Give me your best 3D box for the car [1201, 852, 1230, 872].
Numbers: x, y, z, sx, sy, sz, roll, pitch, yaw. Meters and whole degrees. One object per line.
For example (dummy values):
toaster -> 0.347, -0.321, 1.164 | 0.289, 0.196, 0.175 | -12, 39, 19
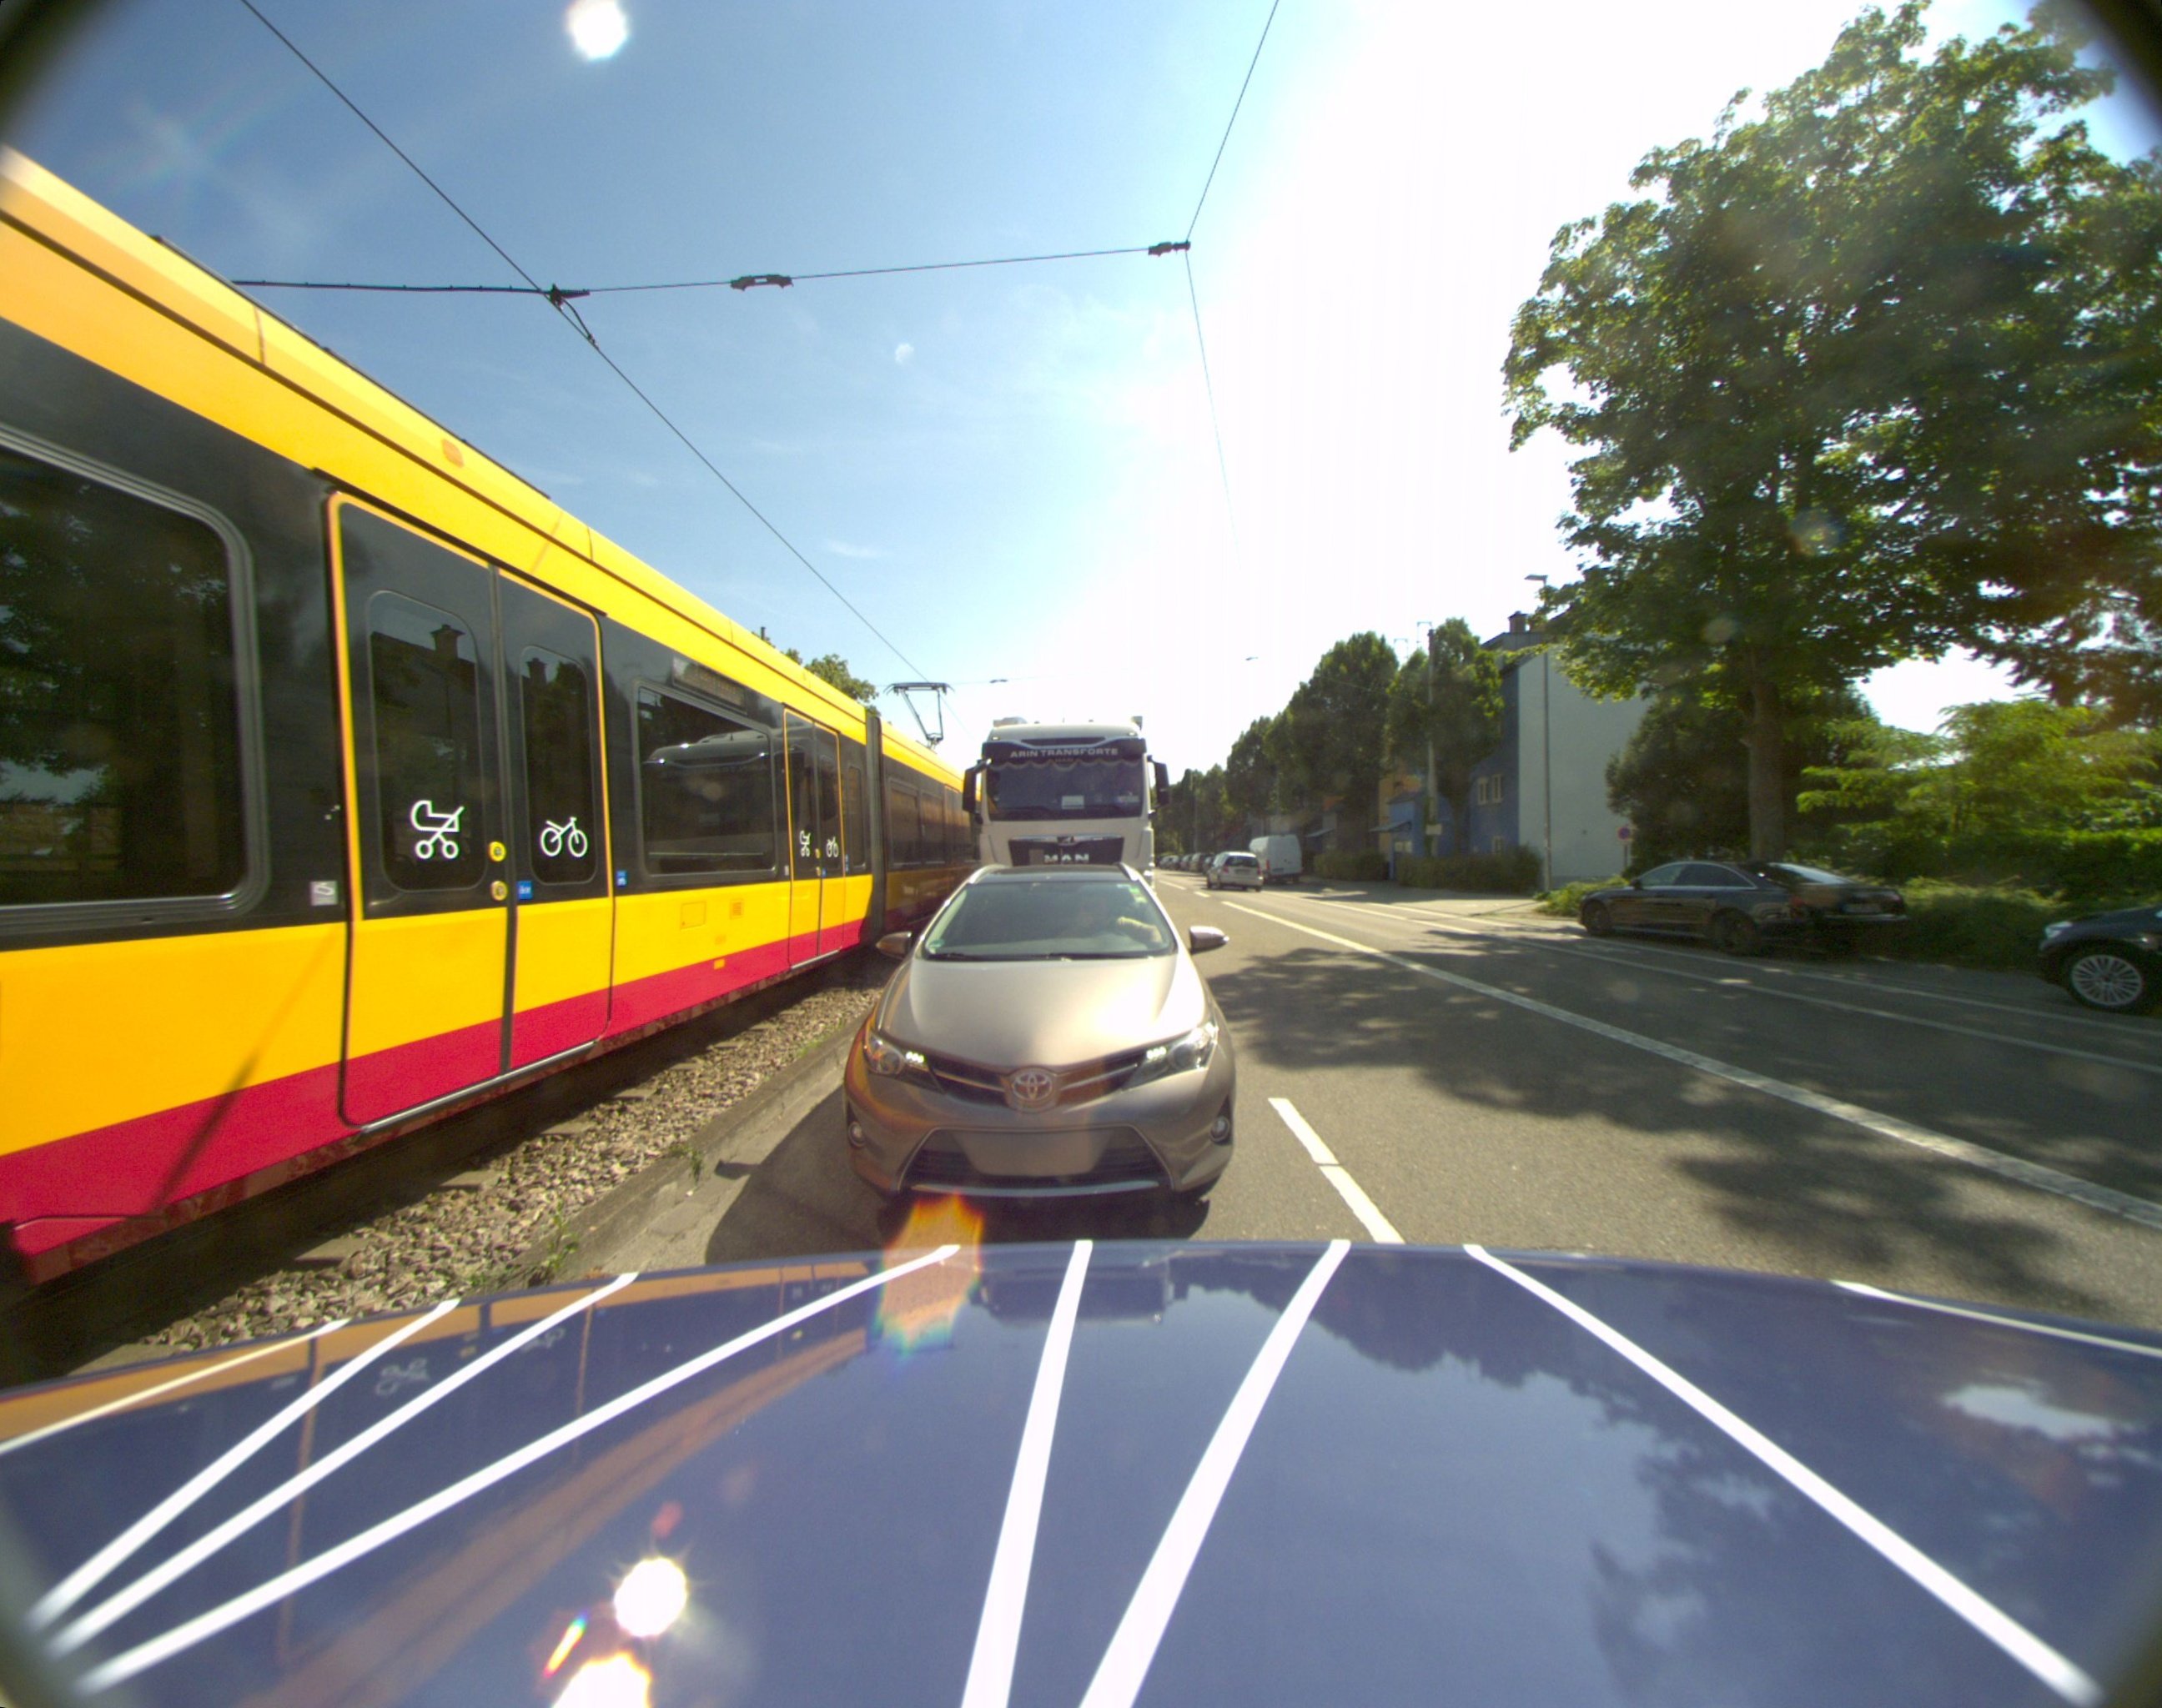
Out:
car -> 11.068, 0.637, 62.806 | 1.679, 1.493, 3.766 | -4, 0, 1

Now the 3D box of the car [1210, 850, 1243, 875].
car -> 10.924, 0.612, 57.383 | 1.679, 1.659, 4.148 | -4, 0, 1

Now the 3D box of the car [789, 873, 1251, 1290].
car -> -0.208, 0.922, 4.913 | 1.719, 1.439, 4.030 | -2, 0, 1

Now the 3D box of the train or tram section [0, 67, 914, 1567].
train or tram section -> -3.927, -0.103, 3.282 | 2.676, 3.631, 15.304 | -2, 1, 1

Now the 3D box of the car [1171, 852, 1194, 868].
car -> 10.516, 0.591, 79.062 | 1.679, 1.493, 3.765 | -4, 0, -3

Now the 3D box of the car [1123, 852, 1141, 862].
car -> 7.345, 0.434, 109.777 | 1.680, 1.493, 3.762 | -1, 1, -10

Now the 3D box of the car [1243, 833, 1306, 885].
car -> 10.932, 0.235, 43.406 | 2.016, 2.636, 6.086 | -4, 0, 1

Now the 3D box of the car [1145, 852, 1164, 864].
car -> 9.395, 0.499, 96.893 | 1.679, 1.493, 3.765 | -4, 0, -5

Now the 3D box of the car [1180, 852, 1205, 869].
car -> 10.759, 0.600, 73.618 | 1.679, 1.493, 3.765 | -4, 0, -3

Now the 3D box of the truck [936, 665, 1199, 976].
truck -> -0.098, -0.469, 17.249 | 3.391, 4.046, 14.286 | -2, 0, 1

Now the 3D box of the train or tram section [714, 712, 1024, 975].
train or tram section -> -3.714, -0.258, 20.261 | 2.679, 3.631, 18.955 | -2, 1, 0

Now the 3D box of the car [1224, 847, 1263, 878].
car -> 10.988, 0.524, 51.736 | 1.679, 1.925, 4.457 | -4, 0, 1

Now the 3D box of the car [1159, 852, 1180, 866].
car -> 10.049, 0.559, 86.073 | 1.679, 1.493, 3.765 | -4, 0, -3

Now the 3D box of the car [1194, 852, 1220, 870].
car -> 11.133, 0.600, 67.506 | 1.679, 1.493, 3.766 | -4, 0, 1

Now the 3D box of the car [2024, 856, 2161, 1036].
car -> 10.545, 0.835, 5.677 | 1.679, 1.603, 4.242 | 0, 0, -1

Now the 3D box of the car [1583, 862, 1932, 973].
car -> 10.551, 0.882, 12.423 | 1.679, 1.427, 4.457 | 0, 0, -1

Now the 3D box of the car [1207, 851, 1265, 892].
car -> 6.502, 0.673, 32.159 | 1.846, 1.587, 4.001 | 1, 0, 4

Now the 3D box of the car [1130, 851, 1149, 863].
car -> 8.104, 0.463, 105.015 | 1.680, 1.493, 3.763 | -4, 0, -10
